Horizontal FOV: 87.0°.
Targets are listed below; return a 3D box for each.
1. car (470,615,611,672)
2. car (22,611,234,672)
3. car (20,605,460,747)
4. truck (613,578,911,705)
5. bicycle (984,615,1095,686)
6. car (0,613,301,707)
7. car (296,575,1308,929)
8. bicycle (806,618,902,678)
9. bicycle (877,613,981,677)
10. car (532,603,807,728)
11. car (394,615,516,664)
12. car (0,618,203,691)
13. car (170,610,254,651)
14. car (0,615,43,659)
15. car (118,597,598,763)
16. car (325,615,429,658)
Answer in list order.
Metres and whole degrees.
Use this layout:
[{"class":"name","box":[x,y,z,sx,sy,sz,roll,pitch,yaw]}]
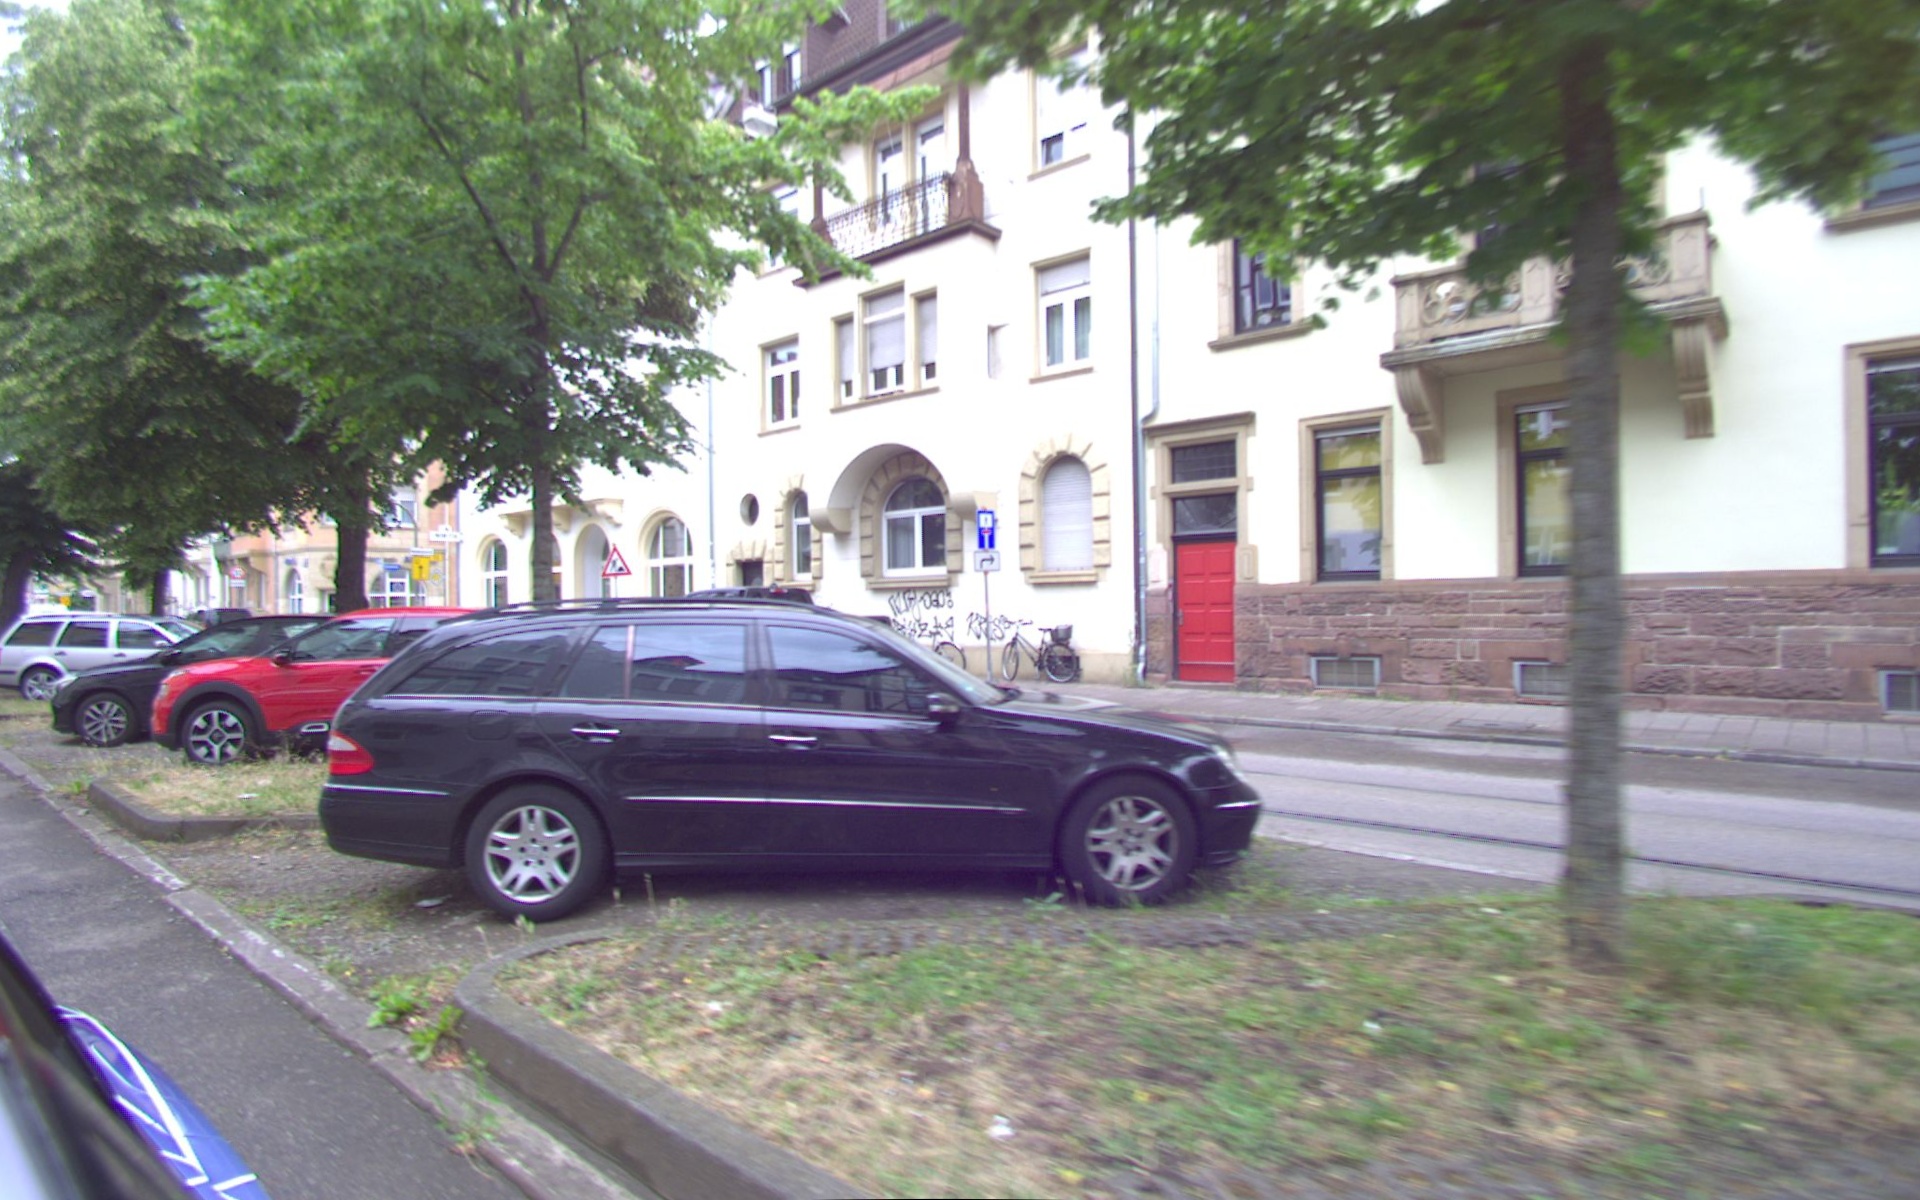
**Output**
[{"class":"car","box":[-9.733,0.963,23.406,3.377,1.185,1.618,-1,0,39]},{"class":"car","box":[-21.362,1.043,26.212,3.931,1.426,1.904,0,-2,-28]},{"class":"car","box":[-8.489,0.868,12.267,3.939,1.478,1.900,-1,-2,-5]},{"class":"truck","box":[-3.683,0.645,17.781,2.120,1.870,6.066,-1,0,-45]},{"class":"bicycle","box":[1.371,0.864,17.716,1.915,1.135,0.605,-1,2,41]},{"class":"car","box":[-13.881,0.994,17.320,3.935,1.426,1.902,-1,-2,-10]},{"class":"car","box":[-0.726,0.675,5.538,4.540,1.477,1.887,-1,0,-3]},{"class":"bicycle","box":[-2.168,0.975,20.674,1.908,1.135,0.607,-2,2,30]},{"class":"bicycle","box":[-0.602,0.860,19.328,1.908,1.135,0.607,-2,2,30]},{"class":"car","box":[-4.389,0.860,14.827,4.695,1.520,1.740,-2,0,44]},{"class":"car","box":[-13.244,1.008,26.500,3.377,1.185,1.618,-1,0,39]},{"class":"car","box":[-19.014,1.158,21.773,3.935,1.426,1.902,-1,-2,-10]},{"class":"car","box":[-31.279,1.260,42.258,4.509,1.617,1.773,-1,0,39]},{"class":"car","box":[-37.572,1.451,38.189,3.931,1.624,1.904,-1,-2,-18]},{"class":"car","box":[-5.711,0.738,10.012,3.680,1.399,1.791,-1,-2,-5]},{"class":"car","box":[-17.440,1.063,30.220,3.377,1.185,1.618,-1,0,39]}]
